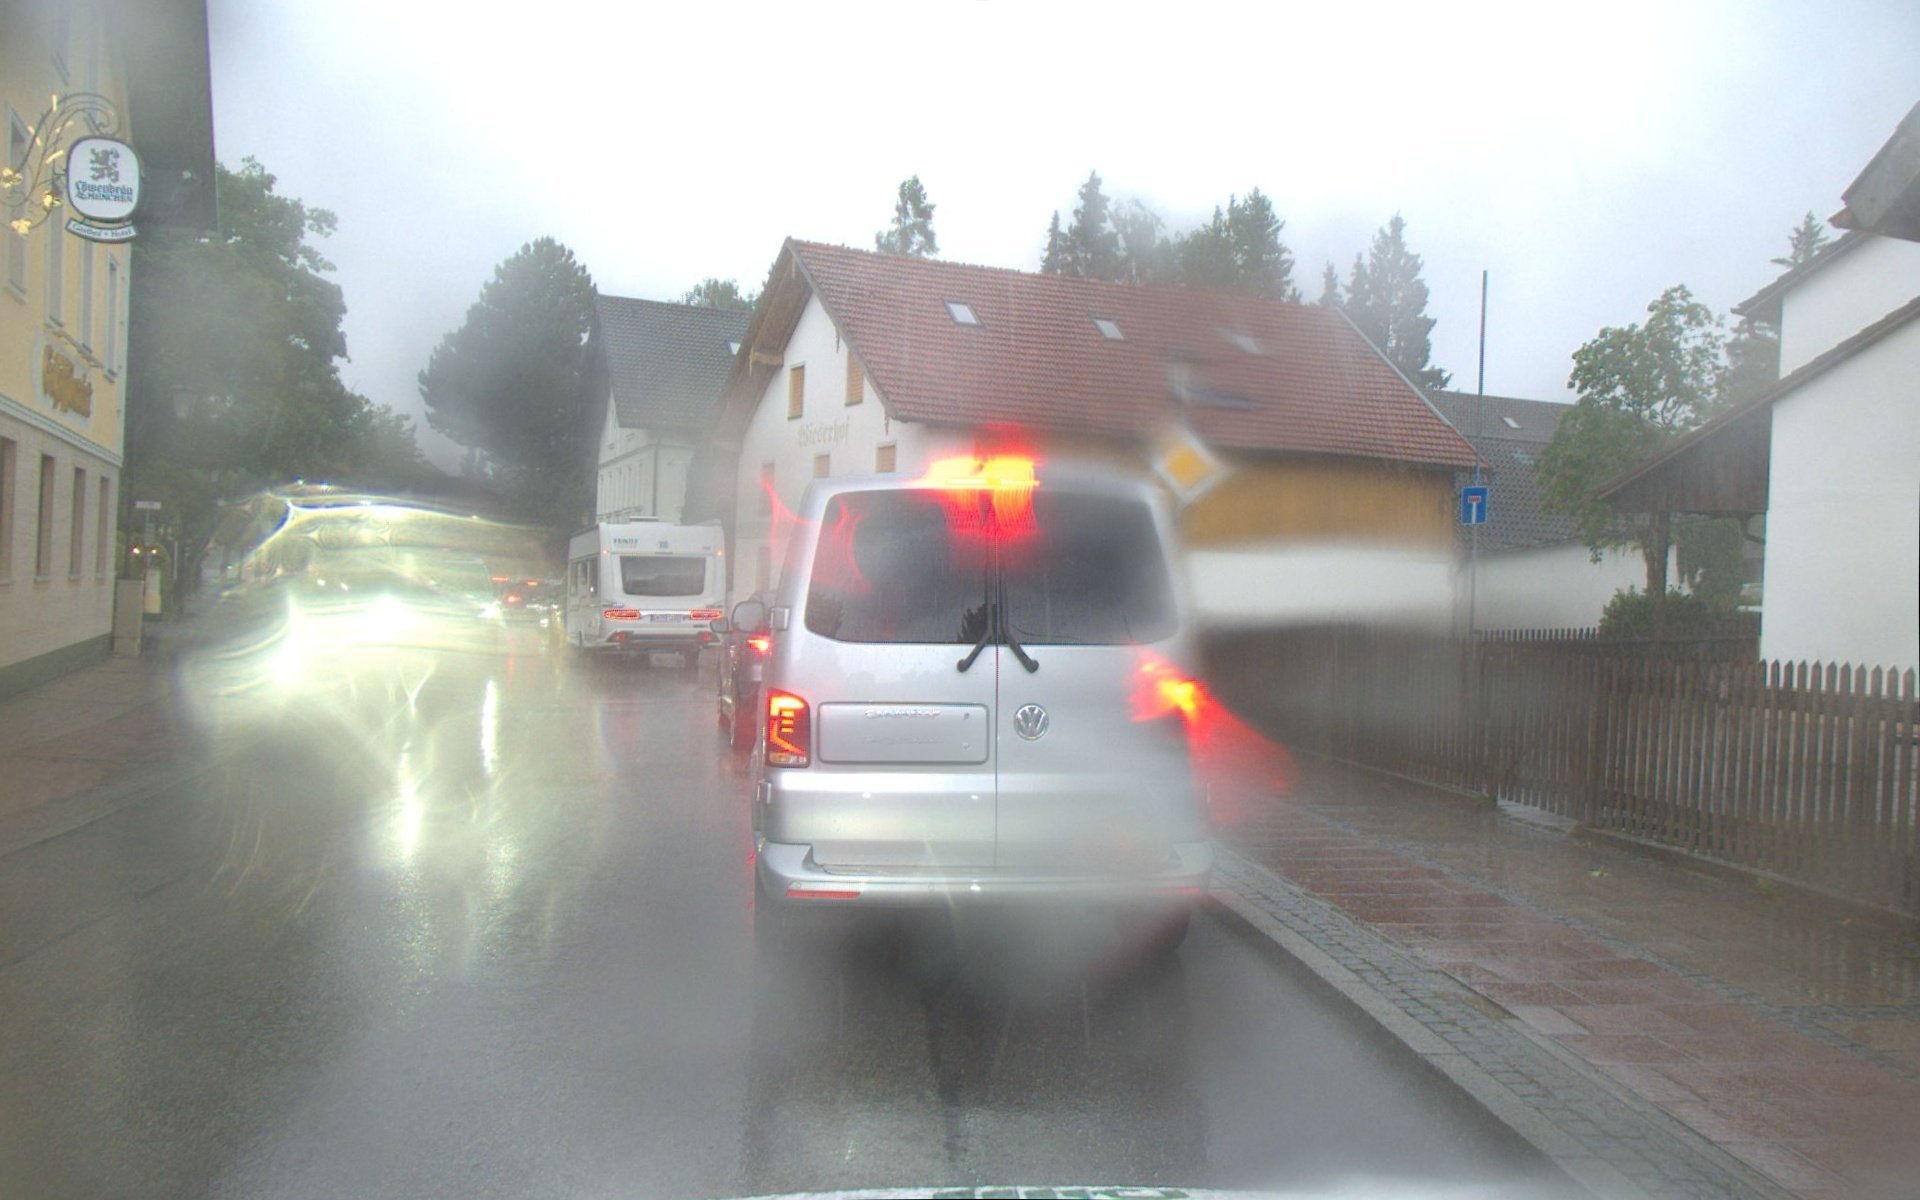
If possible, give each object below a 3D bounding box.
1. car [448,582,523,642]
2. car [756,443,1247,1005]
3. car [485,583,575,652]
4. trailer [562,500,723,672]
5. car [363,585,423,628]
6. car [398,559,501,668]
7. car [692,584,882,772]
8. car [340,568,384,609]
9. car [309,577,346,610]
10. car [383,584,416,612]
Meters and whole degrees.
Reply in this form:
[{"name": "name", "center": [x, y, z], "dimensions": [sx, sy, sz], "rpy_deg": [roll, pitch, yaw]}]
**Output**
[{"name": "car", "center": [-17.479, 0.411, 60.768], "dimensions": [2.138, 1.932, 4.982], "rpy_deg": [3, 1, -21]}, {"name": "car", "center": [0.133, 0.444, 8.448], "dimensions": [1.740, 1.997, 5.073], "rpy_deg": [0, 0, 0]}, {"name": "car", "center": [-13.750, 0.518, 52.670], "dimensions": [2.138, 1.932, 4.982], "rpy_deg": [3, 1, -21]}, {"name": "trailer", "center": [-6.195, -0.246, 31.650], "dimensions": [2.236, 2.955, 6.100], "rpy_deg": [1, 0, -18]}, {"name": "car", "center": [-19.489, 0.195, 56.737], "dimensions": [1.835, 1.382, 4.456], "rpy_deg": [0, 1, -20]}, {"name": "car", "center": [-10.226, 0.253, 32.990], "dimensions": [1.822, 2.006, 4.676], "rpy_deg": [0, 0, -19]}, {"name": "car", "center": [-1.837, 0.671, 17.147], "dimensions": [1.676, 1.611, 4.678], "rpy_deg": [-1, 1, -7]}, {"name": "car", "center": [-27.536, -0.541, 76.162], "dimensions": [1.835, 1.788, 4.457], "rpy_deg": [-2, 1, -20]}, {"name": "car", "center": [-35.918, -0.365, 94.034], "dimensions": [1.835, 1.788, 4.457], "rpy_deg": [-2, 1, -20]}, {"name": "car", "center": [-43.419, -0.195, 128.035], "dimensions": [2.138, 1.932, 4.982], "rpy_deg": [3, 1, -21]}]
